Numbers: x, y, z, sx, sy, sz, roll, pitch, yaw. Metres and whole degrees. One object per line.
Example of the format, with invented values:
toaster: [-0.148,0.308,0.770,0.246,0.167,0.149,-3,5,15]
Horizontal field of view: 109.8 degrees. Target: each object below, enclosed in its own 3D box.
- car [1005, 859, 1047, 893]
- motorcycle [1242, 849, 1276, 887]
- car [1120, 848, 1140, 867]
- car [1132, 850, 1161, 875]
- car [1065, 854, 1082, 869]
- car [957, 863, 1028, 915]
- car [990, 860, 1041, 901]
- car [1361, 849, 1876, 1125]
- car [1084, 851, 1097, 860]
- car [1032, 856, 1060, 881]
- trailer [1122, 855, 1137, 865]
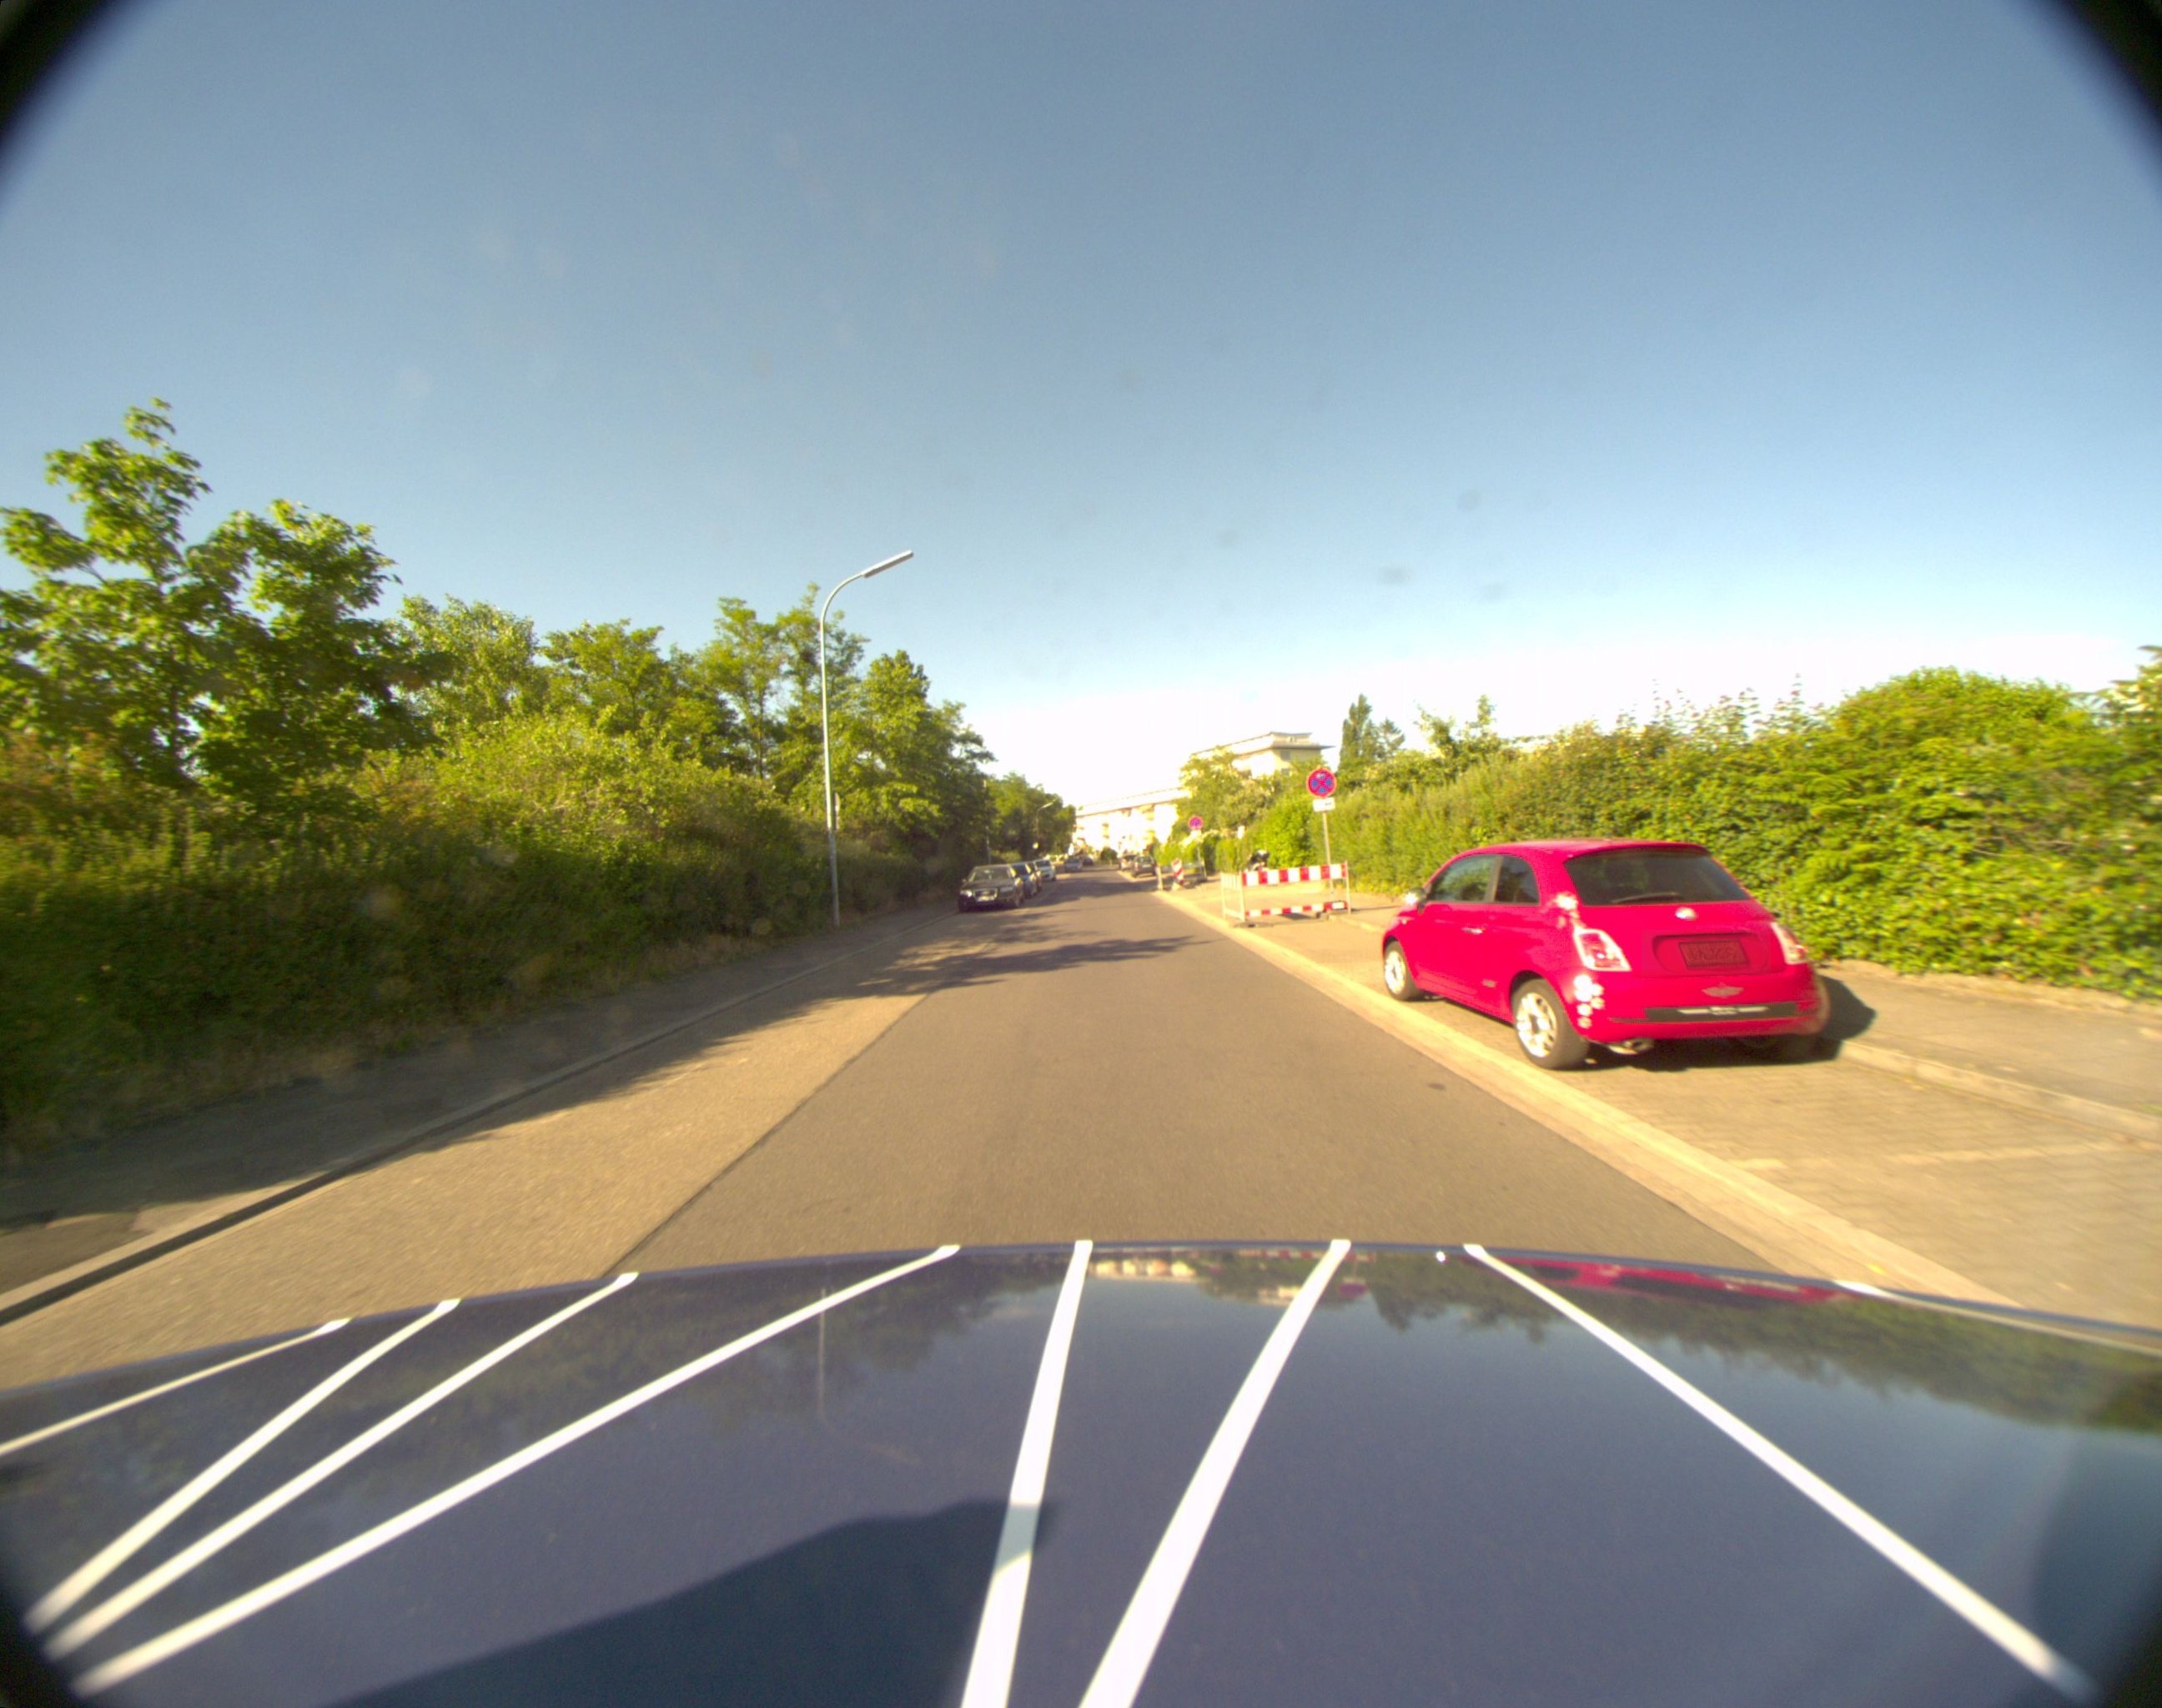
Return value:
car: [-2.725,1.070,38.338,1.659,1.477,3.838,-5,0,0]
motorcycle: [6.343,0.460,27.200,0.568,1.261,2.090,-4,1,-3]
car: [4.525,0.290,70.493,1.647,1.590,4.312,-4,0,3]
car: [4.496,0.551,52.759,1.647,1.547,4.417,-3,0,1]
car: [-0.721,0.743,76.124,1.597,1.417,4.171,0,0,1]
car: [-2.882,1.107,25.769,1.758,1.405,4.655,-5,0,0]
car: [-2.715,1.076,32.402,1.659,1.436,4.656,-5,0,0]
car: [3.670,0.739,6.044,1.563,1.486,3.570,-3,0,1]
car: [1.628,0.217,129.059,1.732,1.455,4.681,-2,-1,-4]
car: [-2.419,0.969,52.829,1.559,1.529,3.555,-5,0,1]
trailer: [5.137,0.655,80.928,1.547,0.948,2.647,-4,0,3]
